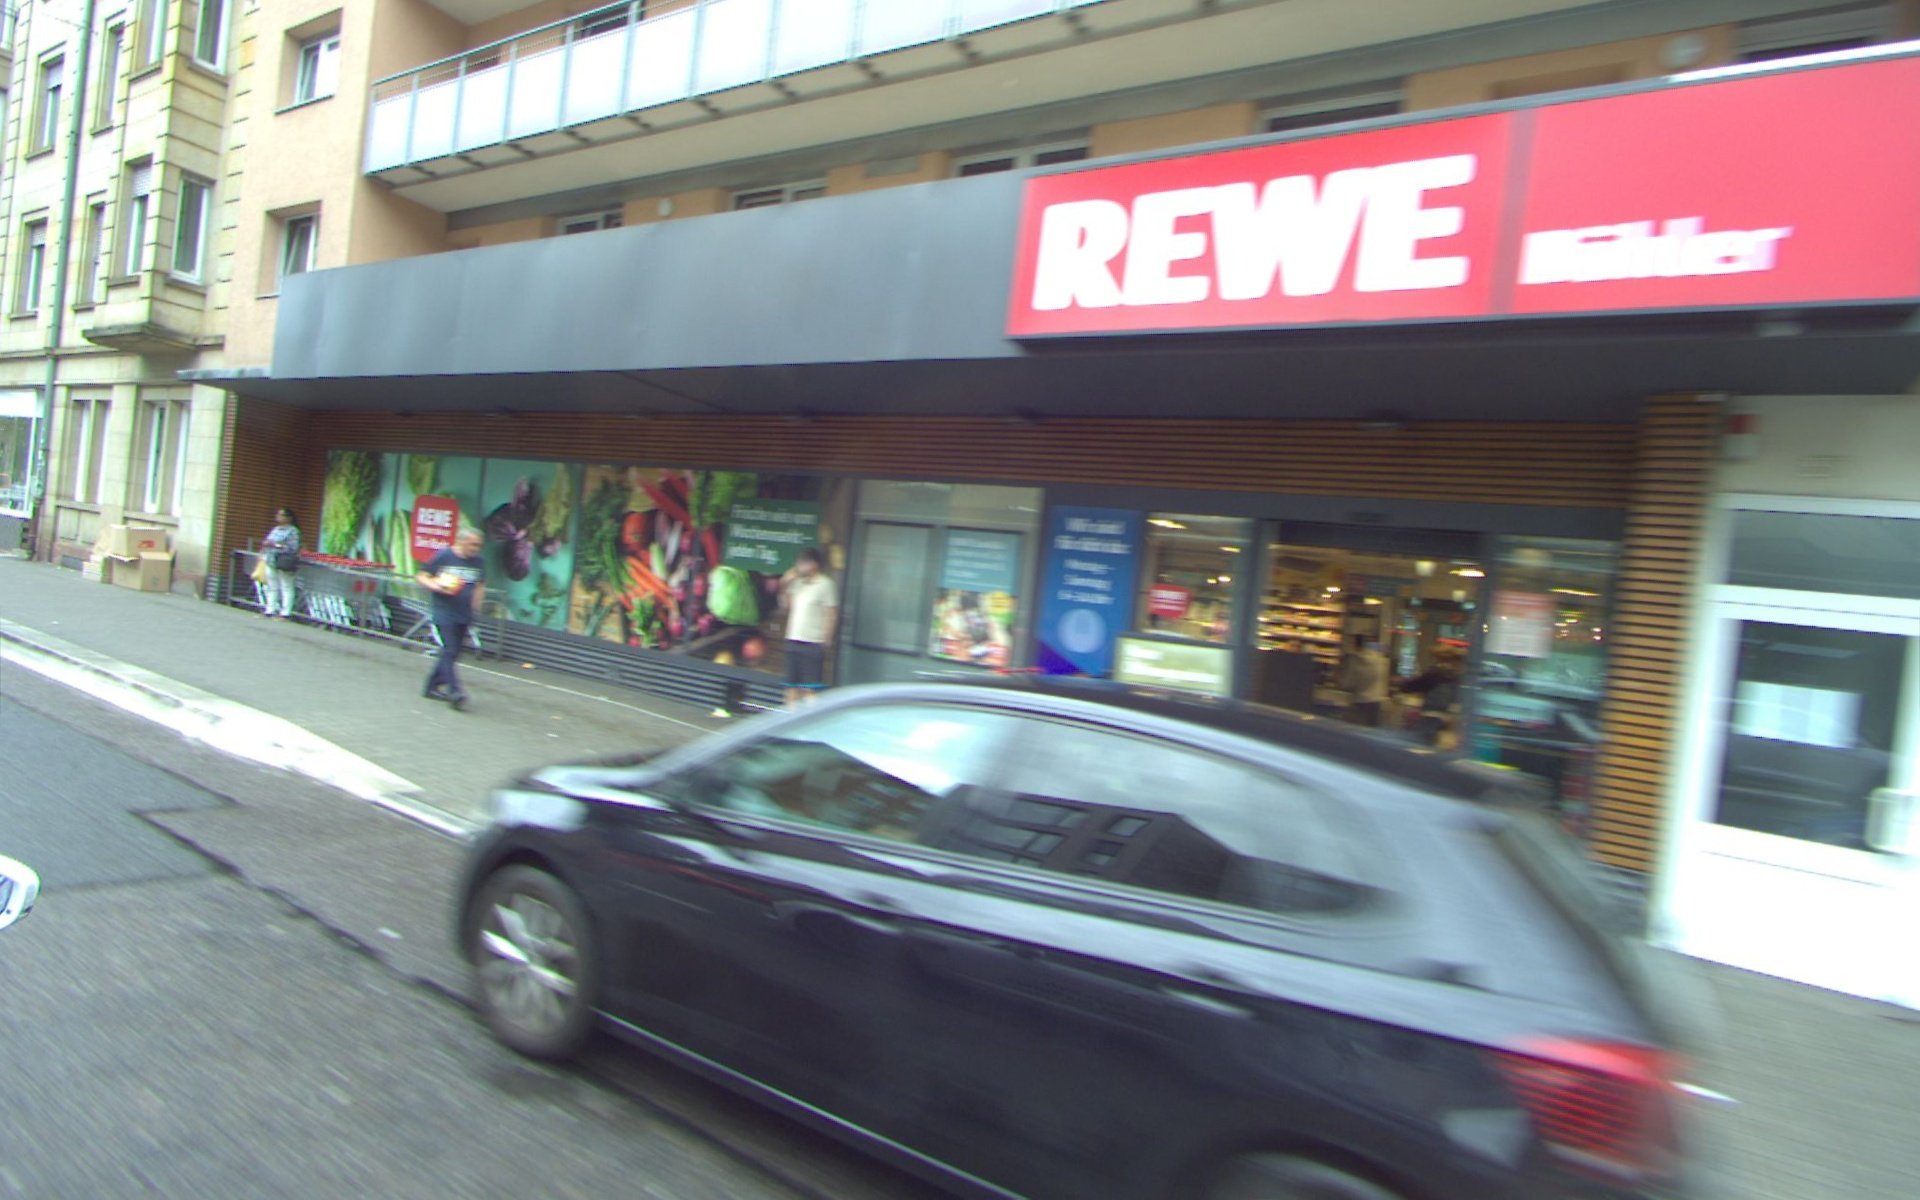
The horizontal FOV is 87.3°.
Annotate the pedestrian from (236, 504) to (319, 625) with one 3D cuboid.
[{"bbox_3d":[-9.511,-0.486,14.027,0.615,1.592,0.563,7,1,16],"label":"pedestrian"}]

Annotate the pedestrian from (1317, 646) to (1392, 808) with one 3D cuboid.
[{"bbox_3d":[4.674,1.485,11.917,0.612,1.800,0.495,7,1,23],"label":"pedestrian"}]

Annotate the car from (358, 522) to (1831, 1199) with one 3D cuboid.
[{"bbox_3d":[0.025,0.796,3.313,3.916,1.565,1.733,7,-1,32],"label":"car"}]

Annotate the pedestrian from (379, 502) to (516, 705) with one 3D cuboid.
[{"bbox_3d":[-4.570,0.036,8.970,0.736,1.672,0.626,10,2,34],"label":"pedestrian"}]

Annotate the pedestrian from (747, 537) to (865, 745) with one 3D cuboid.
[{"bbox_3d":[-1.473,0.392,9.658,0.716,1.881,0.596,6,0,35],"label":"pedestrian"}]

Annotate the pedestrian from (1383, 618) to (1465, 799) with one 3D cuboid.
[{"bbox_3d":[5.471,1.257,11.850,0.629,2.008,0.573,7,1,28],"label":"pedestrian"}]
